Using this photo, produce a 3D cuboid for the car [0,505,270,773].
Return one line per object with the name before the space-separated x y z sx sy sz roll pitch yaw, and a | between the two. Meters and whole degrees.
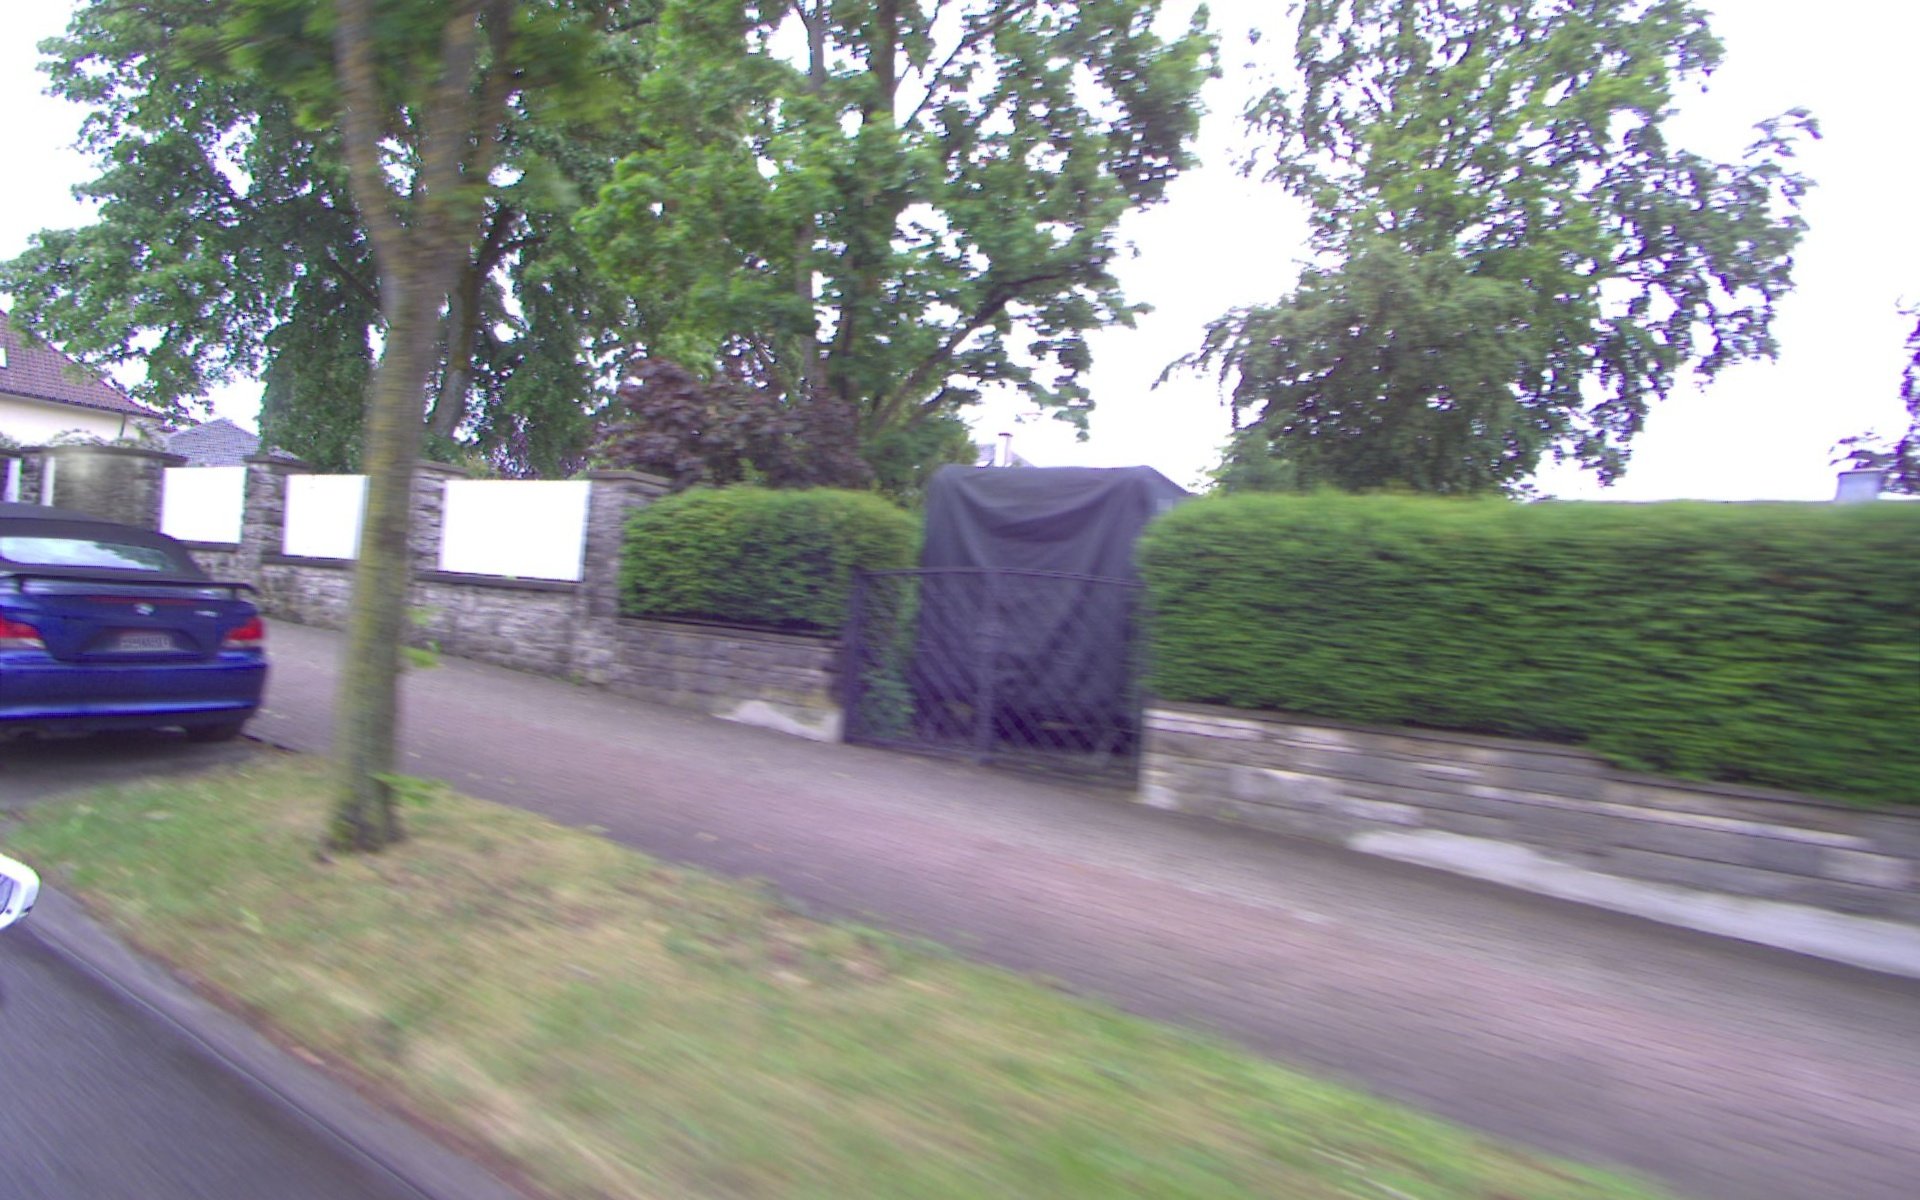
car | -6.412 0.074 6.571 3.764 1.395 1.642 6 1 30
